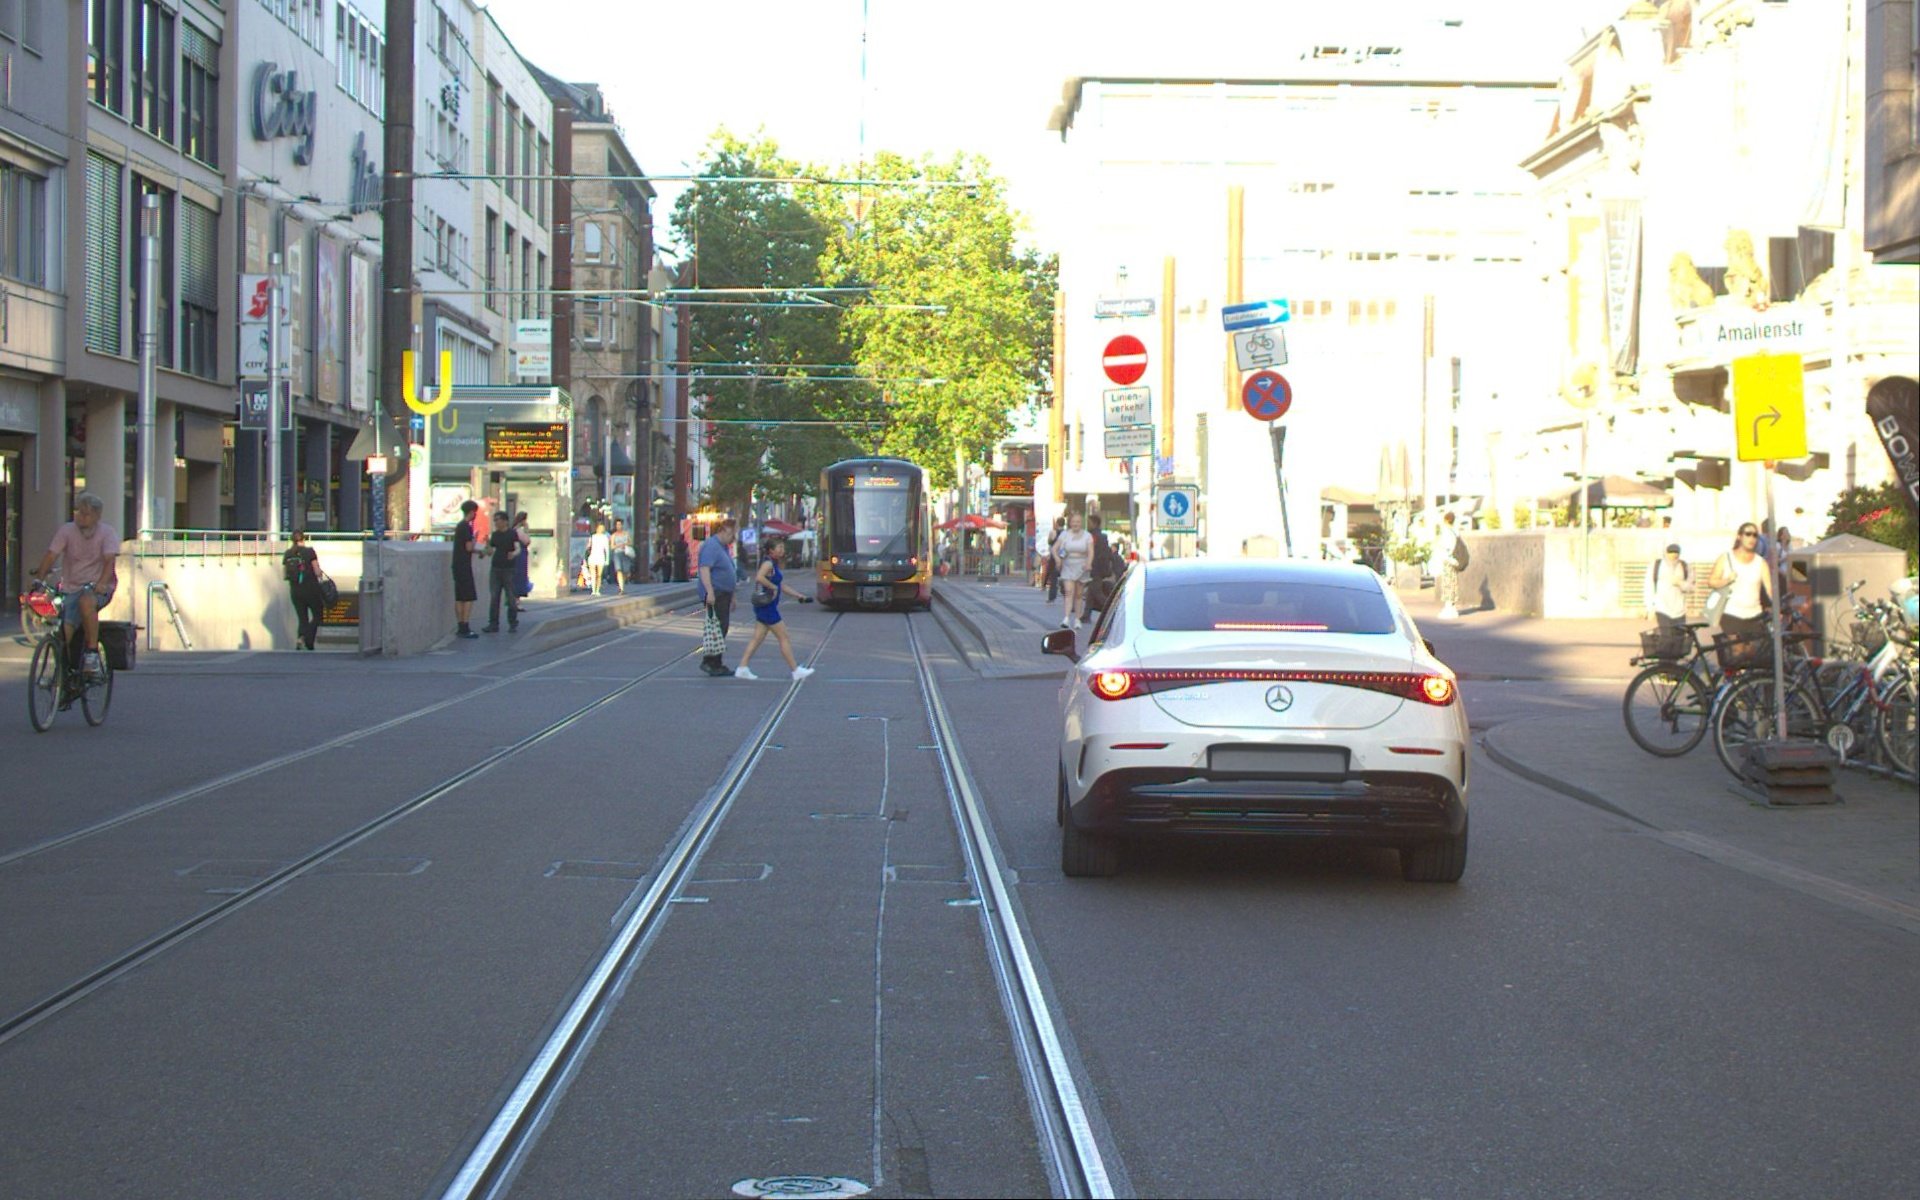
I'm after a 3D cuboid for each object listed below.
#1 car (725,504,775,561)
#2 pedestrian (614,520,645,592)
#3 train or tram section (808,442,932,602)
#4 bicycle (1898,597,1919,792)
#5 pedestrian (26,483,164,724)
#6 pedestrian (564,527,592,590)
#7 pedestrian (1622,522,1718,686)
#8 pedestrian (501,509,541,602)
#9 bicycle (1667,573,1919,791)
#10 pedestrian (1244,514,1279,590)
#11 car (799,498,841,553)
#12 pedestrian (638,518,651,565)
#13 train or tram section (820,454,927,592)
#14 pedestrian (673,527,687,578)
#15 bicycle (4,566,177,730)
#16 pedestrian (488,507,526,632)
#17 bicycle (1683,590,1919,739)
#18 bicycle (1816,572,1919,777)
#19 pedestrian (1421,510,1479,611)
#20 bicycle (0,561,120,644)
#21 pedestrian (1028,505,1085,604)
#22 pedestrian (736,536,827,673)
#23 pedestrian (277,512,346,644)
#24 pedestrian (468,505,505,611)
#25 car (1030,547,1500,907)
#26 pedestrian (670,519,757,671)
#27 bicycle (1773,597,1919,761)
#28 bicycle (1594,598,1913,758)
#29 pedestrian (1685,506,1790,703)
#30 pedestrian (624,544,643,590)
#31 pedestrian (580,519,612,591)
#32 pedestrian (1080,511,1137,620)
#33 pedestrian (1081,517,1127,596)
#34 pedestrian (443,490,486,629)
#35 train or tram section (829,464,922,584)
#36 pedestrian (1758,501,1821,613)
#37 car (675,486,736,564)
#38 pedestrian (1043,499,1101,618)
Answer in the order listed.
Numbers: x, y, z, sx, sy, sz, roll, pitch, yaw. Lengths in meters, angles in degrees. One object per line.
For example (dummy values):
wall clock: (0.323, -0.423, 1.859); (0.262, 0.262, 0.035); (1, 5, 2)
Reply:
car: (-9.201, -2.956, 150.900); (1.910, 2.452, 5.275); (0, 1, -1)
pedestrian: (-7.368, -0.985, 76.647); (0.660, 1.593, 0.573); (0, 1, -2)
train or tram section: (-2.097, -1.839, 81.739); (2.694, 3.504, 12.546); (0, 1, -1)
bicycle: (6.630, 0.544, 20.510); (1.907, 1.152, 0.610); (-1, 1, -12)
pedestrian: (-6.564, 0.020, 26.126); (0.800, 1.776, 0.849); (2, 1, -2)
pedestrian: (-9.699, -1.053, 87.393); (0.660, 1.593, 0.573); (0, 1, -2)
pedestrian: (7.810, 0.036, 37.838); (0.840, 1.779, 0.804); (-1, 1, -1)
pedestrian: (-7.322, -0.743, 57.328); (0.615, 1.539, 0.651); (0, 1, -3)
bicycle: (5.407, 0.493, 21.302); (1.907, 1.277, 0.610); (-1, 1, -12)
pedestrian: (7.144, -1.134, 81.375); (0.727, 1.779, 0.708); (1, 1, -1)
car: (-7.444, -3.972, 182.961); (2.099, 2.887, 5.275); (0, 1, -1)
pedestrian: (-11.037, -2.036, 120.202); (0.414, 1.624, 0.606); (0, 1, -1)
train or tram section: (-2.344, -2.096, 94.289); (2.694, 3.504, 12.546); (0, 1, -1)
pedestrian: (-9.002, -1.539, 110.593); (0.414, 1.624, 0.606); (0, 1, -1)
bicycle: (-6.576, 0.340, 26.116); (0.800, 1.138, 2.257); (2, 1, -3)
pedestrian: (-6.392, -0.436, 48.499); (0.519, 1.754, 0.551); (0, 1, -6)
bicycle: (6.572, 0.475, 25.946); (2.113, 1.092, 0.610); (0, 1, -12)
bicycle: (6.566, 0.455, 22.222); (1.907, 1.277, 0.610); (-1, 1, -12)
pedestrian: (8.264, -0.673, 58.045); (0.817, 1.679, 0.804); (-1, 1, -1)
bicycle: (-11.543, 0.020, 43.963); (0.719, 1.006, 2.038); (1, 1, 13)
pedestrian: (1.755, -0.834, 62.710); (0.960, 1.779, 0.804); (-1, 1, -1)
pedestrian: (-1.970, 0.044, 38.058); (0.955, 1.491, 0.944); (0, 1, 0)
pedestrian: (-8.487, -0.293, 44.990); (0.782, 1.711, 0.840); (0, 1, -4)
pedestrian: (-7.223, -0.649, 52.468); (0.531, 1.608, 0.541); (0, 1, -6)
car: (1.332, 0.505, 16.621); (1.857, 1.450, 4.175); (2, 1, 0)
pedestrian: (-2.770, -0.066, 38.709); (0.905, 1.692, 0.849); (0, 1, 0)
bicycle: (6.706, 0.530, 23.663); (2.113, 1.092, 0.610); (0, 1, -14)
bicycle: (5.593, 0.548, 24.254); (2.113, 1.092, 0.610); (1, 1, -12)
pedestrian: (7.158, 0.031, 31.686); (0.748, 1.779, 0.767); (-1, 1, -1)
pedestrian: (-11.560, -1.158, 121.746); (0.604, 1.624, 0.415); (0, 1, -16)
pedestrian: (-8.109, -0.995, 76.560); (0.660, 1.593, 0.573); (0, 1, -2)
pedestrian: (2.293, -0.536, 53.202); (0.838, 1.656, 0.785); (0, 1, 1)
pedestrian: (3.288, -0.998, 78.395); (0.960, 1.779, 0.804); (-1, 1, -1)
pedestrian: (-6.906, -0.564, 47.946); (0.571, 1.922, 0.541); (0, 1, -6)
train or tram section: (-2.583, -2.334, 106.126); (2.694, 3.504, 11.144); (0, 1, -1)
pedestrian: (13.388, -0.696, 55.500); (0.722, 1.779, 1.005); (-1, 1, -1)
car: (-9.761, -2.877, 132.102); (1.993, 2.887, 5.275); (0, 1, -1)
pedestrian: (1.616, -0.597, 49.525); (0.746, 1.692, 0.840); (0, 1, -4)
